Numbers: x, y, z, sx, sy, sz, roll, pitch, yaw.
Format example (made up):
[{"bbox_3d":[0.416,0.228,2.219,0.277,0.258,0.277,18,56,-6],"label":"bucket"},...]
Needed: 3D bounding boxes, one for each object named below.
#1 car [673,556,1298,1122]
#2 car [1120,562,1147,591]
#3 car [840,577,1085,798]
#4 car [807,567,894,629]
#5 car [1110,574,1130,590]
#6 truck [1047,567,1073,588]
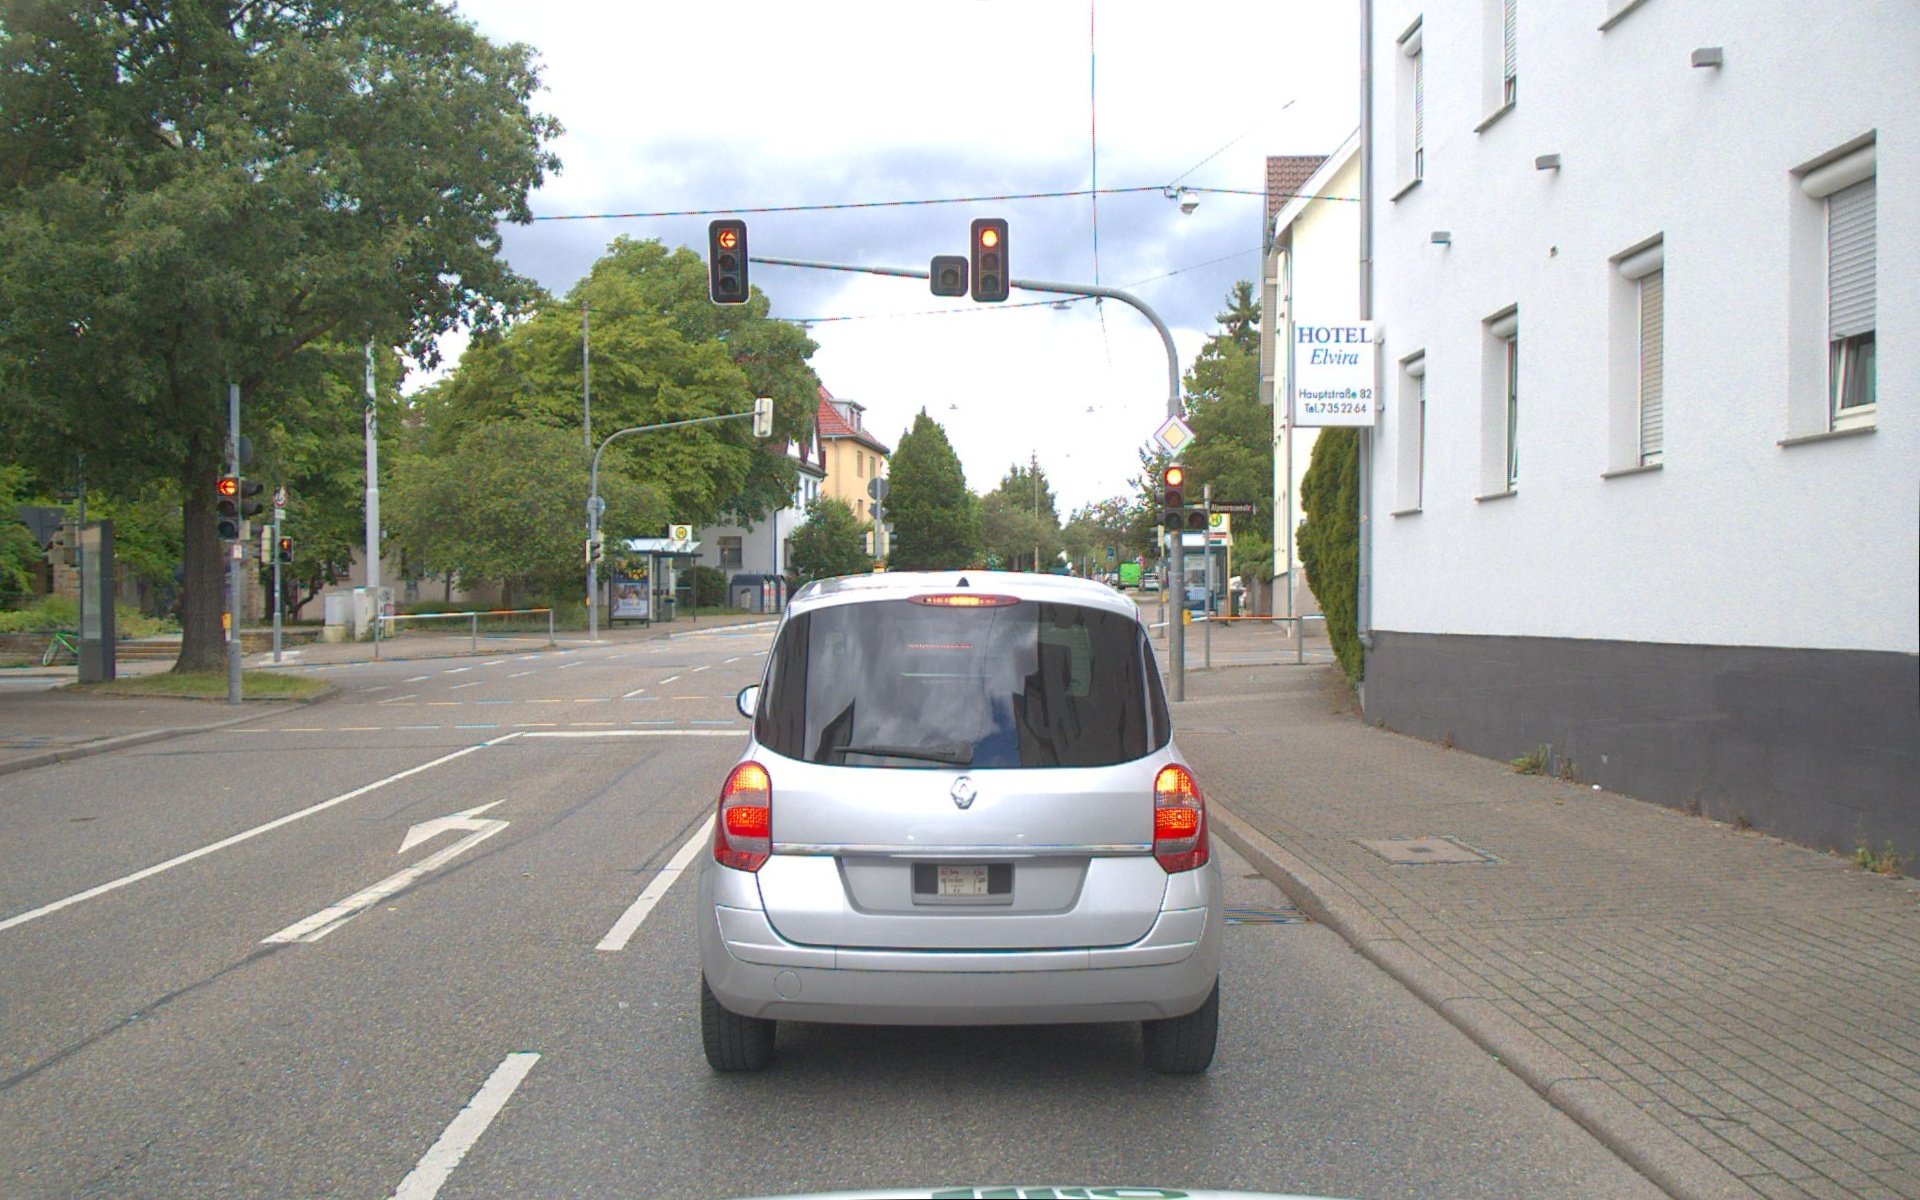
[{"bbox_3d":[0.035,0.664,6.589,1.719,1.557,3.999,1,0,-1],"label":"car"},{"bbox_3d":[15.964,-2.119,151.797,2.015,2.556,5.600,1,0,11],"label":"car"},{"bbox_3d":[-0.018,0.618,13.619,1.719,1.557,3.796,1,0,-1],"label":"car"},{"bbox_3d":[-3.540,-0.080,54.133,1.885,1.804,4.004,-4,0,9],"label":"car"},{"bbox_3d":[17.700,-1.983,182.925,1.818,1.778,4.003,1,0,11],"label":"car"},{"bbox_3d":[10.090,-2.230,166.687,2.056,2.049,5.752,1,0,9],"label":"truck"}]
